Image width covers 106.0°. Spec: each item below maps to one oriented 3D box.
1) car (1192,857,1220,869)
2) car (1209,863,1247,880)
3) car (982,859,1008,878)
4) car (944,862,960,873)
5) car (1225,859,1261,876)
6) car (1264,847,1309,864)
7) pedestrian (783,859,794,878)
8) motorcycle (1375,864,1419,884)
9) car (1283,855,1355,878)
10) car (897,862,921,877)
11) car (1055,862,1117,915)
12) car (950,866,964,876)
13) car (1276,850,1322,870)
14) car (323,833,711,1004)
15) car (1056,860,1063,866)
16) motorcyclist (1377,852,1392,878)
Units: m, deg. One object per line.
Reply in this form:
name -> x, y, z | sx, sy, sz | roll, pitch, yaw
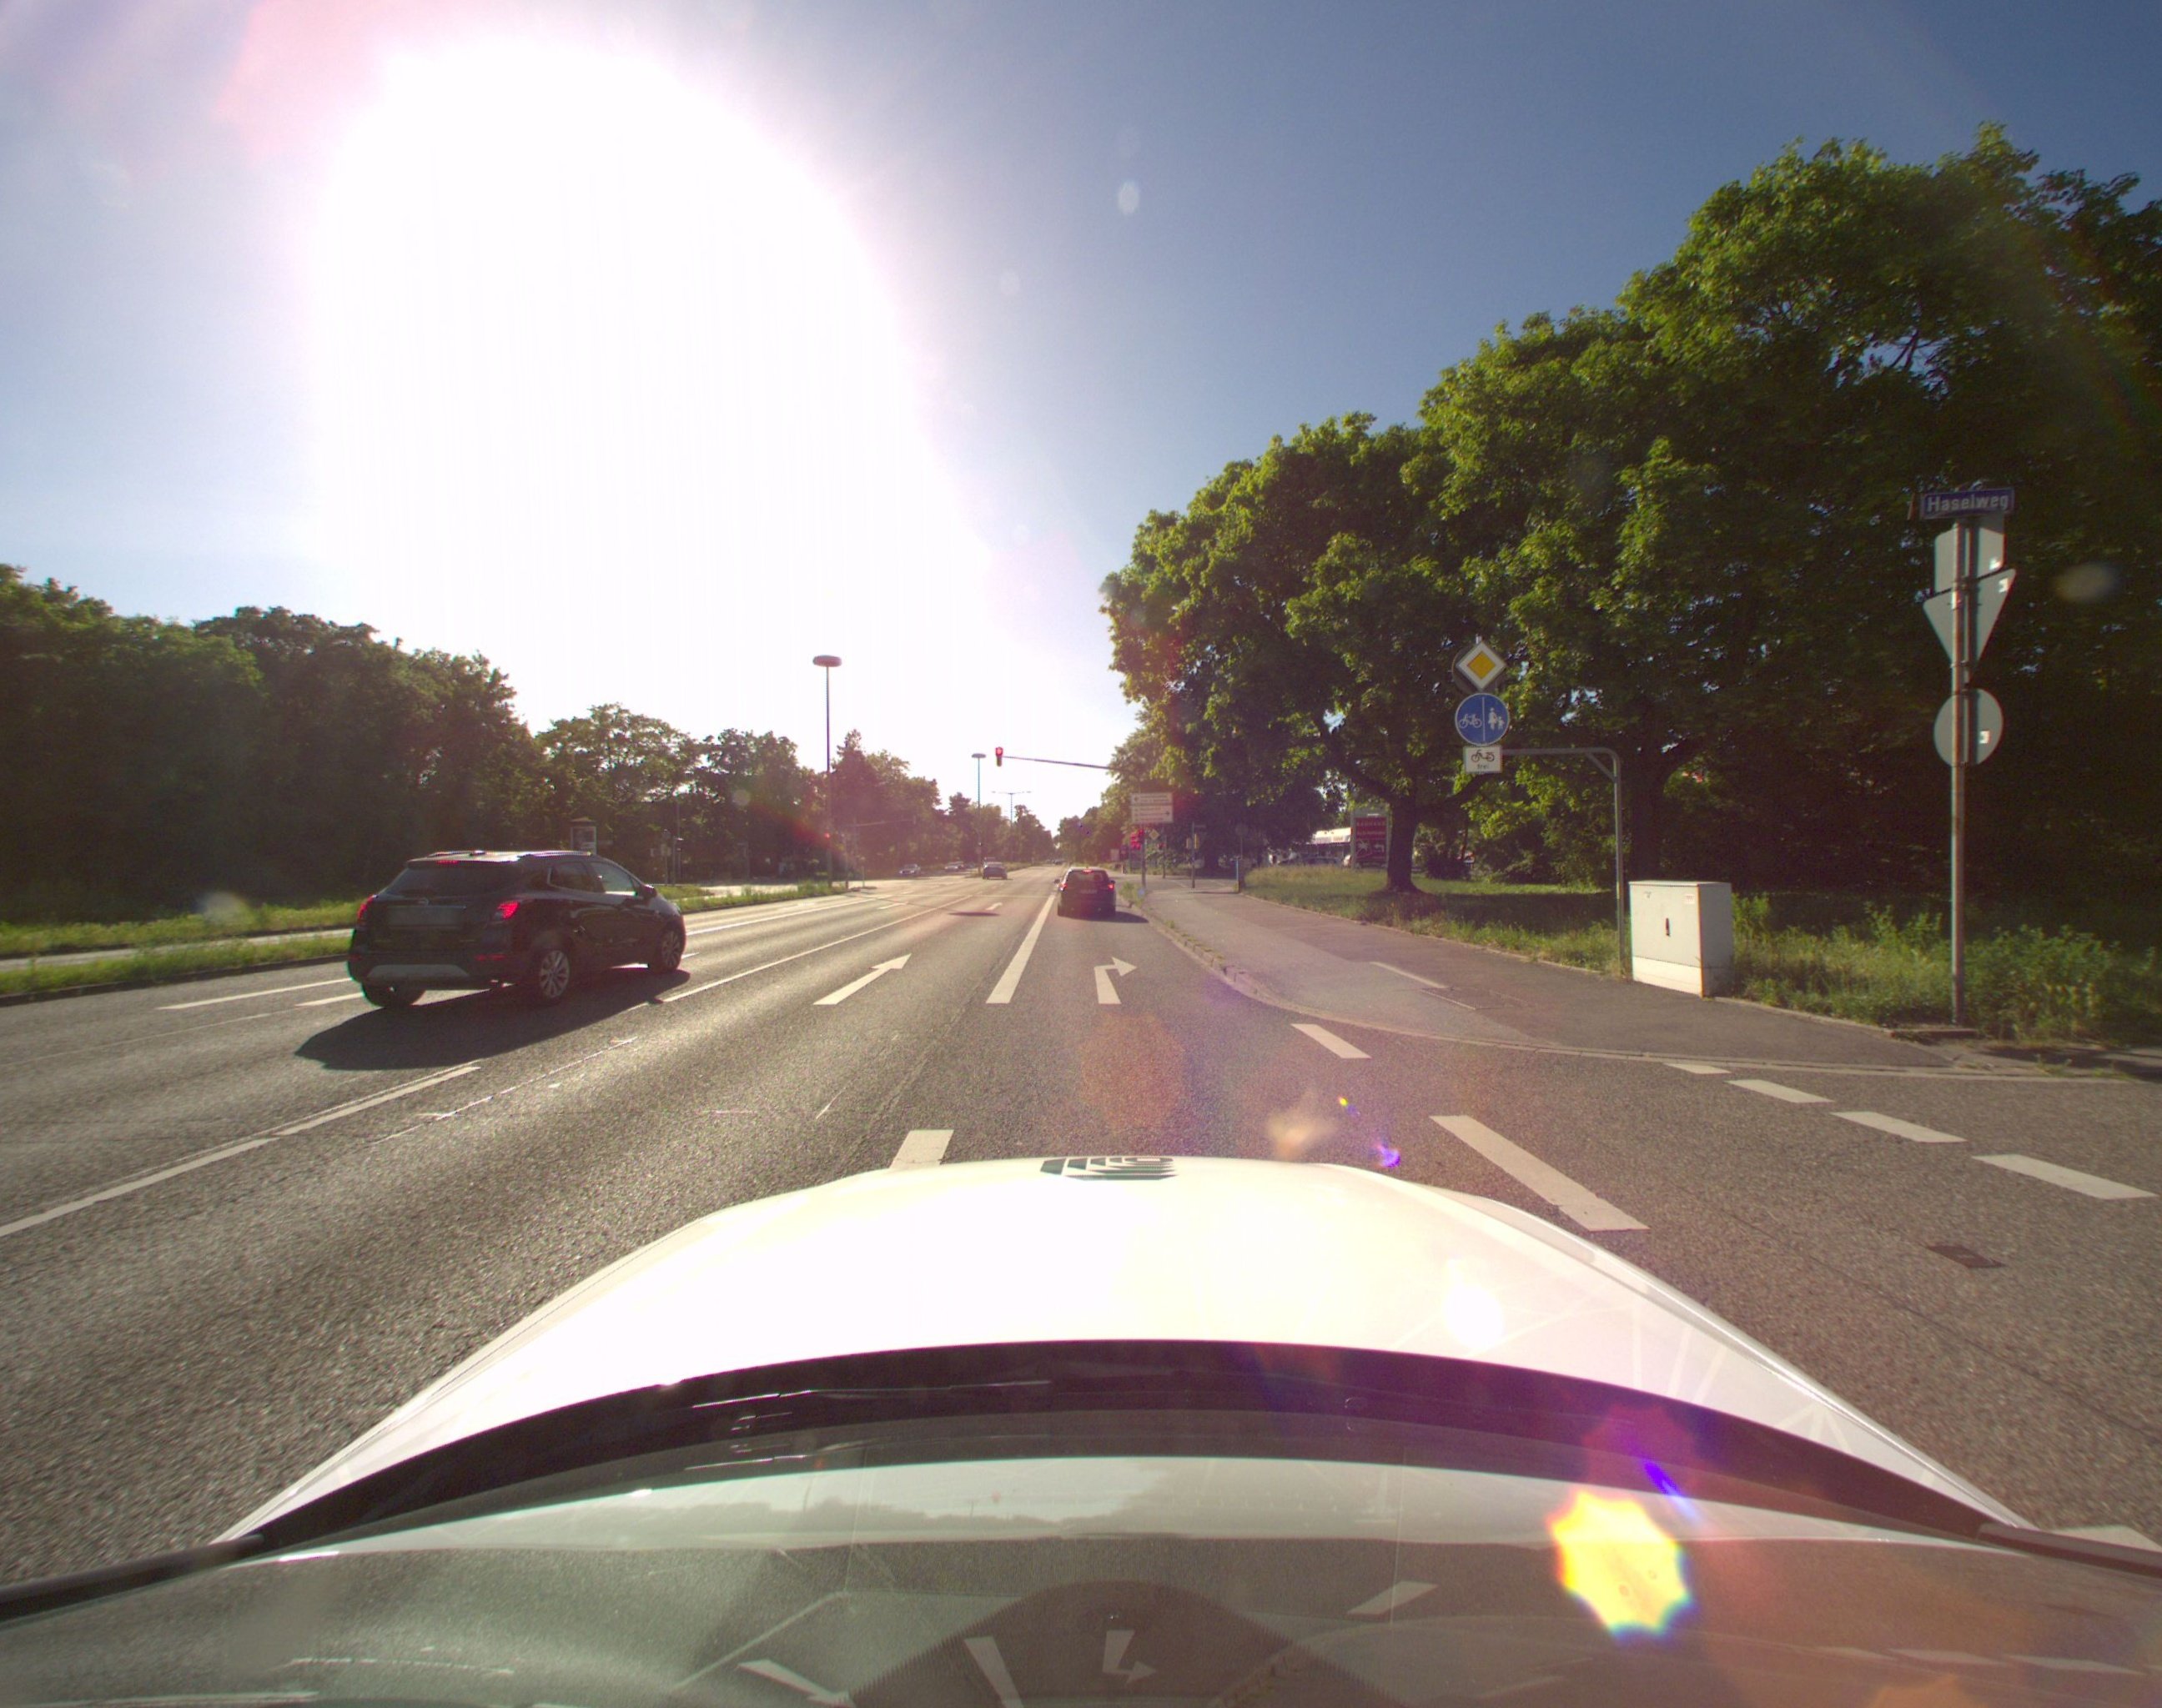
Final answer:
car -> 18.410, 1.317, 120.094 | 3.704, 1.685, 1.702 | 2, -2, -4
car -> 15.710, 1.849, 87.112 | 3.731, 1.685, 1.689 | 3, -2, -27
car -> -7.236, 1.235, 68.781 | 1.883, 1.552, 3.997 | 0, -2, -1
car -> -19.810, 2.099, 125.189 | 1.858, 1.684, 3.998 | 2, -2, -1
car -> 18.493, 1.565, 92.825 | 3.704, 1.685, 1.702 | 2, -2, -4
car -> 19.632, 0.157, 77.857 | 3.848, 1.482, 1.793 | 3, -2, -20
pedestrian -> -28.547, 1.421, 79.434 | 0.842, 1.835, 0.550 | -1, -1, 3
motorcycle -> 21.559, 1.360, 55.654 | 2.705, 1.271, 0.837 | 2, -2, 15
car -> 16.490, 0.895, 56.660 | 4.589, 1.574, 2.005 | 0, -2, 10
car -> -19.944, 1.829, 94.450 | 1.858, 1.684, 4.258 | 2, -2, -1
car -> 0.114, 1.035, 25.459 | 1.750, 1.509, 3.806 | 1, -1, -1
car -> -21.583, 2.926, 142.176 | 1.858, 1.684, 3.998 | 2, -2, -1
car -> 20.309, 0.559, 75.877 | 3.848, 1.612, 1.793 | 3, -2, -20
car -> -6.410, 0.679, 10.033 | 1.691, 1.632, 4.415 | 0, -2, -1
car -> -6.052, 2.525, 228.025 | 1.727, 1.585, 3.838 | 2, -2, -1
motorcyclist -> 20.822, 0.759, 55.869 | 0.854, 1.680, 0.837 | 2, -2, 15
